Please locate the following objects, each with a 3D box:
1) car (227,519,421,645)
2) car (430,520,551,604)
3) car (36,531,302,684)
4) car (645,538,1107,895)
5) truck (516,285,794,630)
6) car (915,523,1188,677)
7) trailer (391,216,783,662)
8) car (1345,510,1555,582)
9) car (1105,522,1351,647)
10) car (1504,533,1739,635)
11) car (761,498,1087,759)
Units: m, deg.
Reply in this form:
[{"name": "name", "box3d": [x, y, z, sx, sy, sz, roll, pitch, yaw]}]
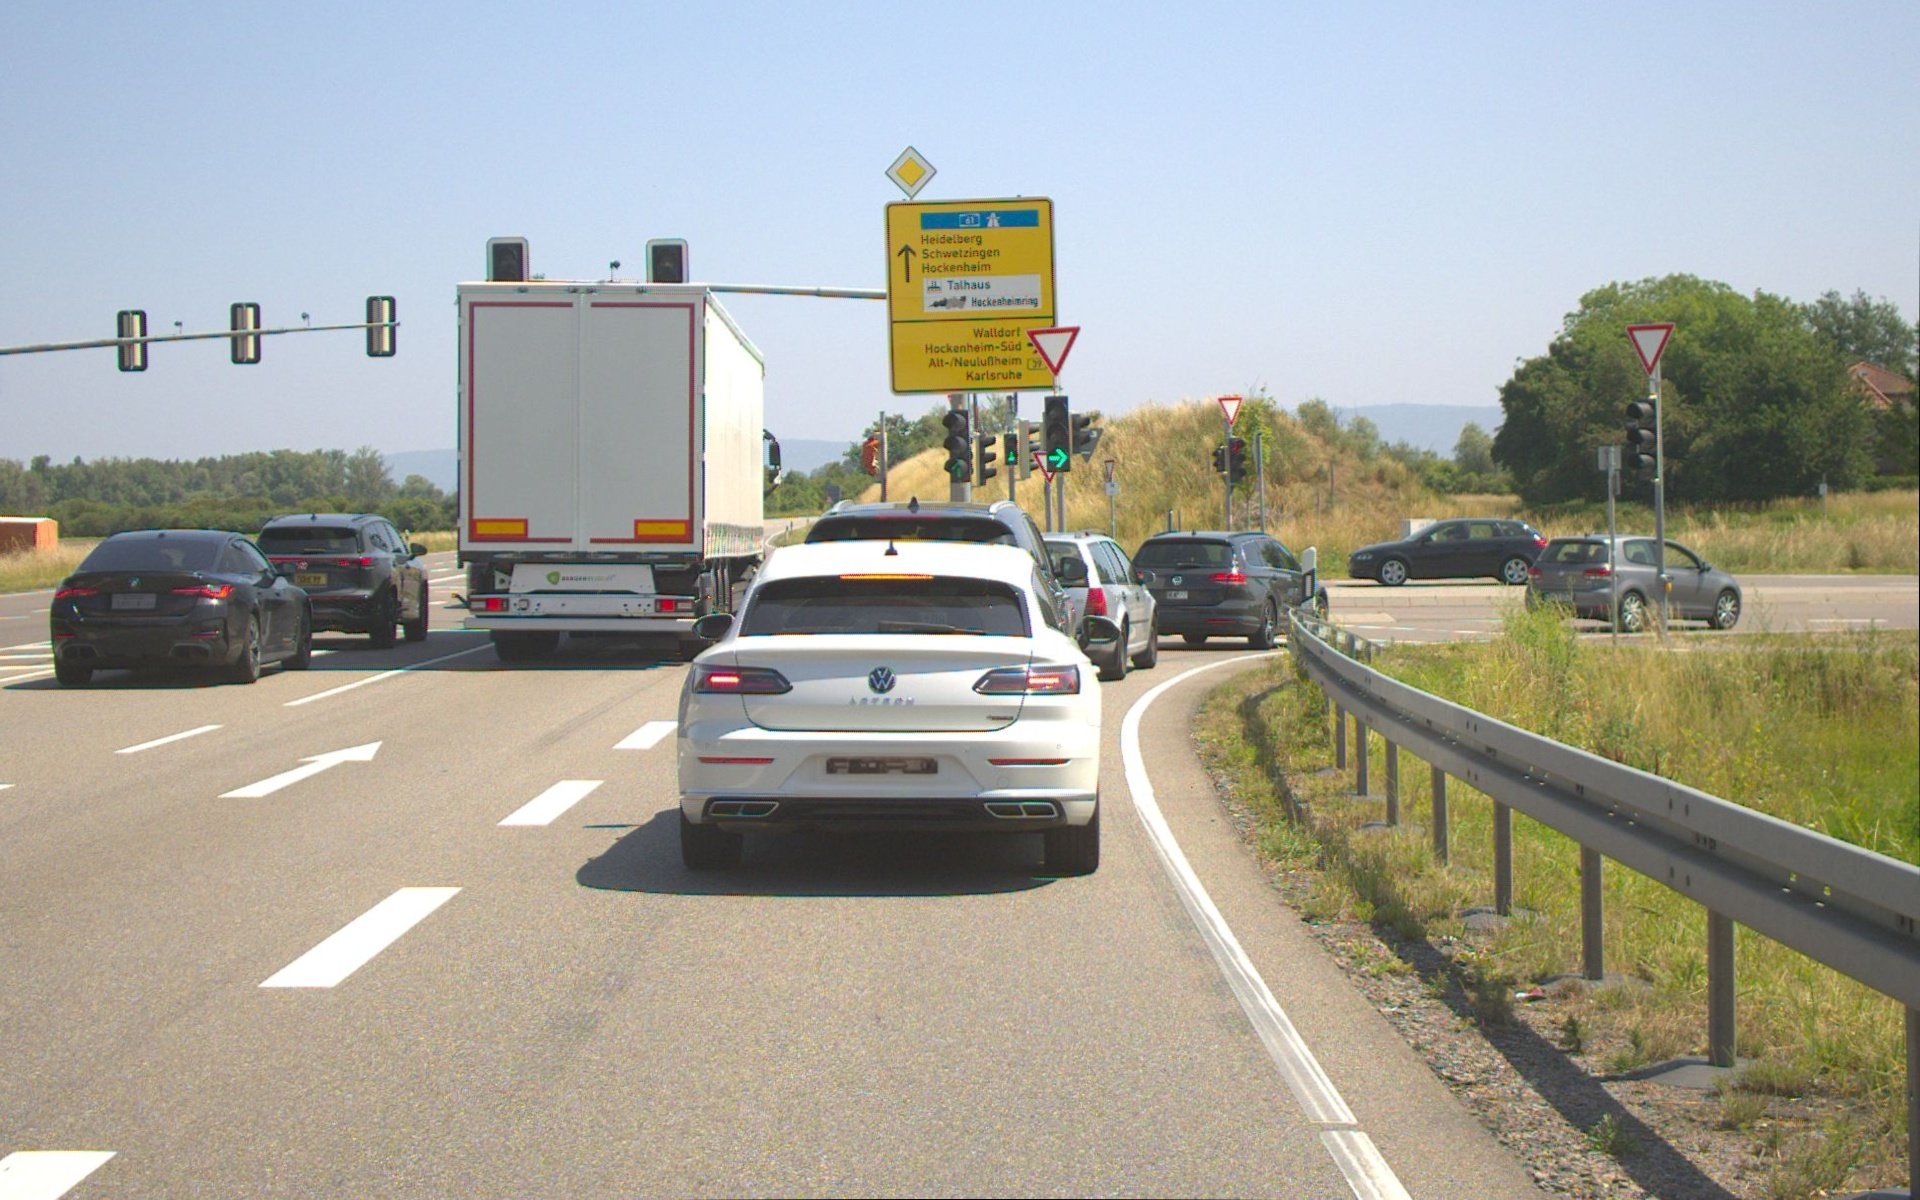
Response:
[{"name": "car", "box3d": [-7.853, -0.248, 42.762, 1.809, 1.488, 4.022, 0, 1, -2]}, {"name": "car", "box3d": [-8.548, -0.709, 62.806, 1.809, 1.488, 4.022, 0, 1, -2]}, {"name": "car", "box3d": [-7.616, 0.033, 33.445, 1.809, 1.393, 4.022, 0, 1, -2]}, {"name": "car", "box3d": [-0.359, 0.429, 16.091, 1.848, 1.428, 4.608, 0, 1, -1]}, {"name": "truck", "box3d": [-4.178, -1.948, 48.540, 3.381, 4.527, 6.373, 0, 1, 0]}, {"name": "car", "box3d": [0.973, -0.040, 34.050, 1.801, 1.424, 4.090, 0, 1, 15]}, {"name": "trailer", "box3d": [-4.140, -1.782, 41.516, 3.381, 4.527, 12.872, 0, 1, 0]}, {"name": "car", "box3d": [10.411, -1.157, 73.260, 4.260, 1.364, 1.776, -1, 2, 3]}, {"name": "car", "box3d": [3.384, -0.220, 42.705, 1.802, 1.471, 4.410, 1, 1, 22]}, {"name": "car", "box3d": [10.279, -0.269, 53.256, 1.804, 1.516, 3.873, 1, 1, 43]}, {"name": "car", "box3d": [-0.147, 0.138, 23.522, 1.935, 1.611, 4.378, 0, 1, 3]}]
